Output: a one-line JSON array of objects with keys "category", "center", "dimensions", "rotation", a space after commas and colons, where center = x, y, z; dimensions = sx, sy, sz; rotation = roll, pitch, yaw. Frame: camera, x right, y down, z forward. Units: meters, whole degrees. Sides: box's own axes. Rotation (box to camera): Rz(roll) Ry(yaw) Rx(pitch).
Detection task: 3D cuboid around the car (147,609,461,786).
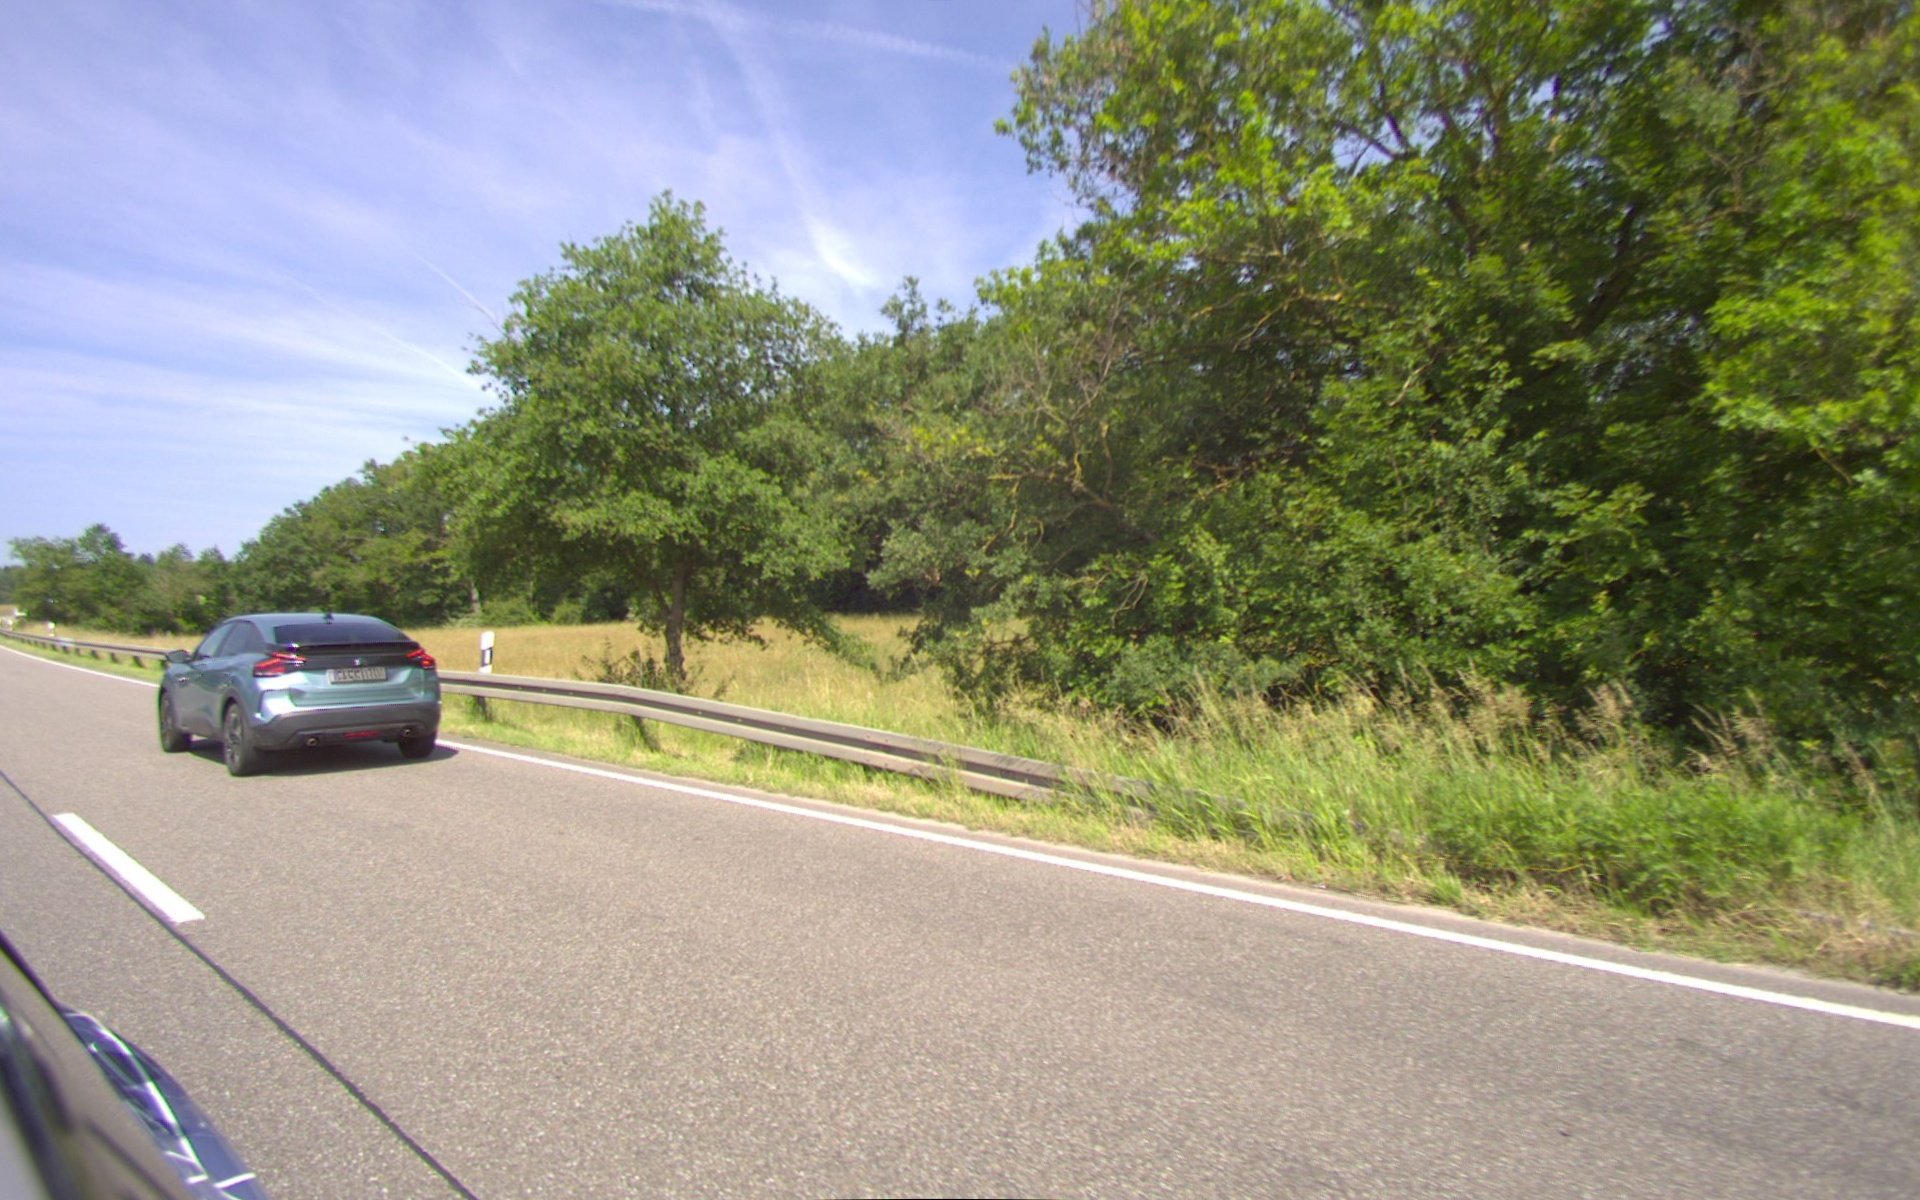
[{"category": "car", "center": [-7.046, 0.880, 10.722], "dimensions": [4.050, 1.526, 1.727], "rotation": [-1, -1, 41]}]
